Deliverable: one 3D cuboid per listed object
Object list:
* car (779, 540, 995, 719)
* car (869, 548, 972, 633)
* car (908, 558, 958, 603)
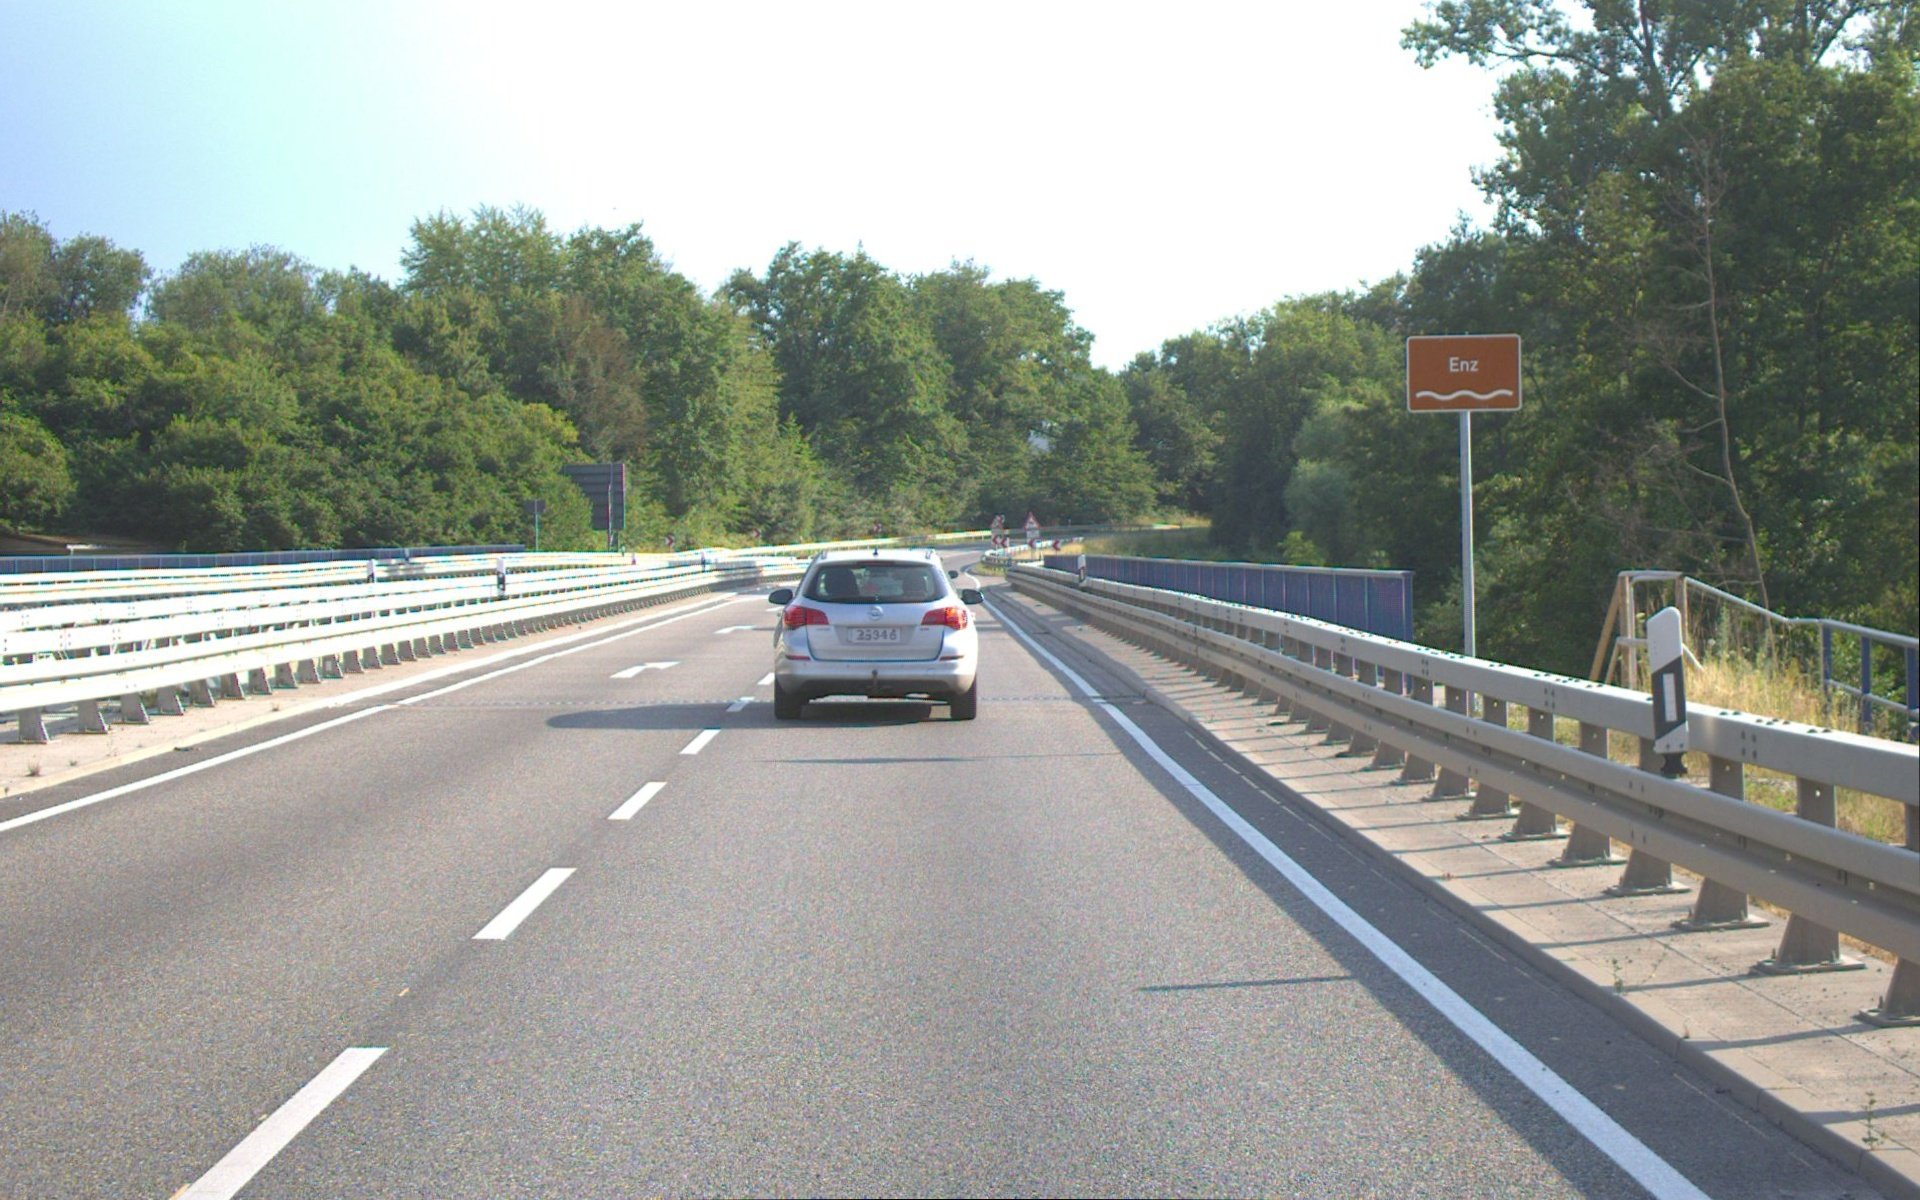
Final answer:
[{"bbox_3d":[-0.661,0.261,31.109,1.809,1.481,4.000,1,0,-1],"label":"car"},{"bbox_3d":[-0.748,-0.165,63.171,1.809,1.481,4.000,1,0,-1],"label":"car"},{"bbox_3d":[-1.274,-0.893,160.283,1.993,2.007,4.000,1,0,-5],"label":"car"}]
